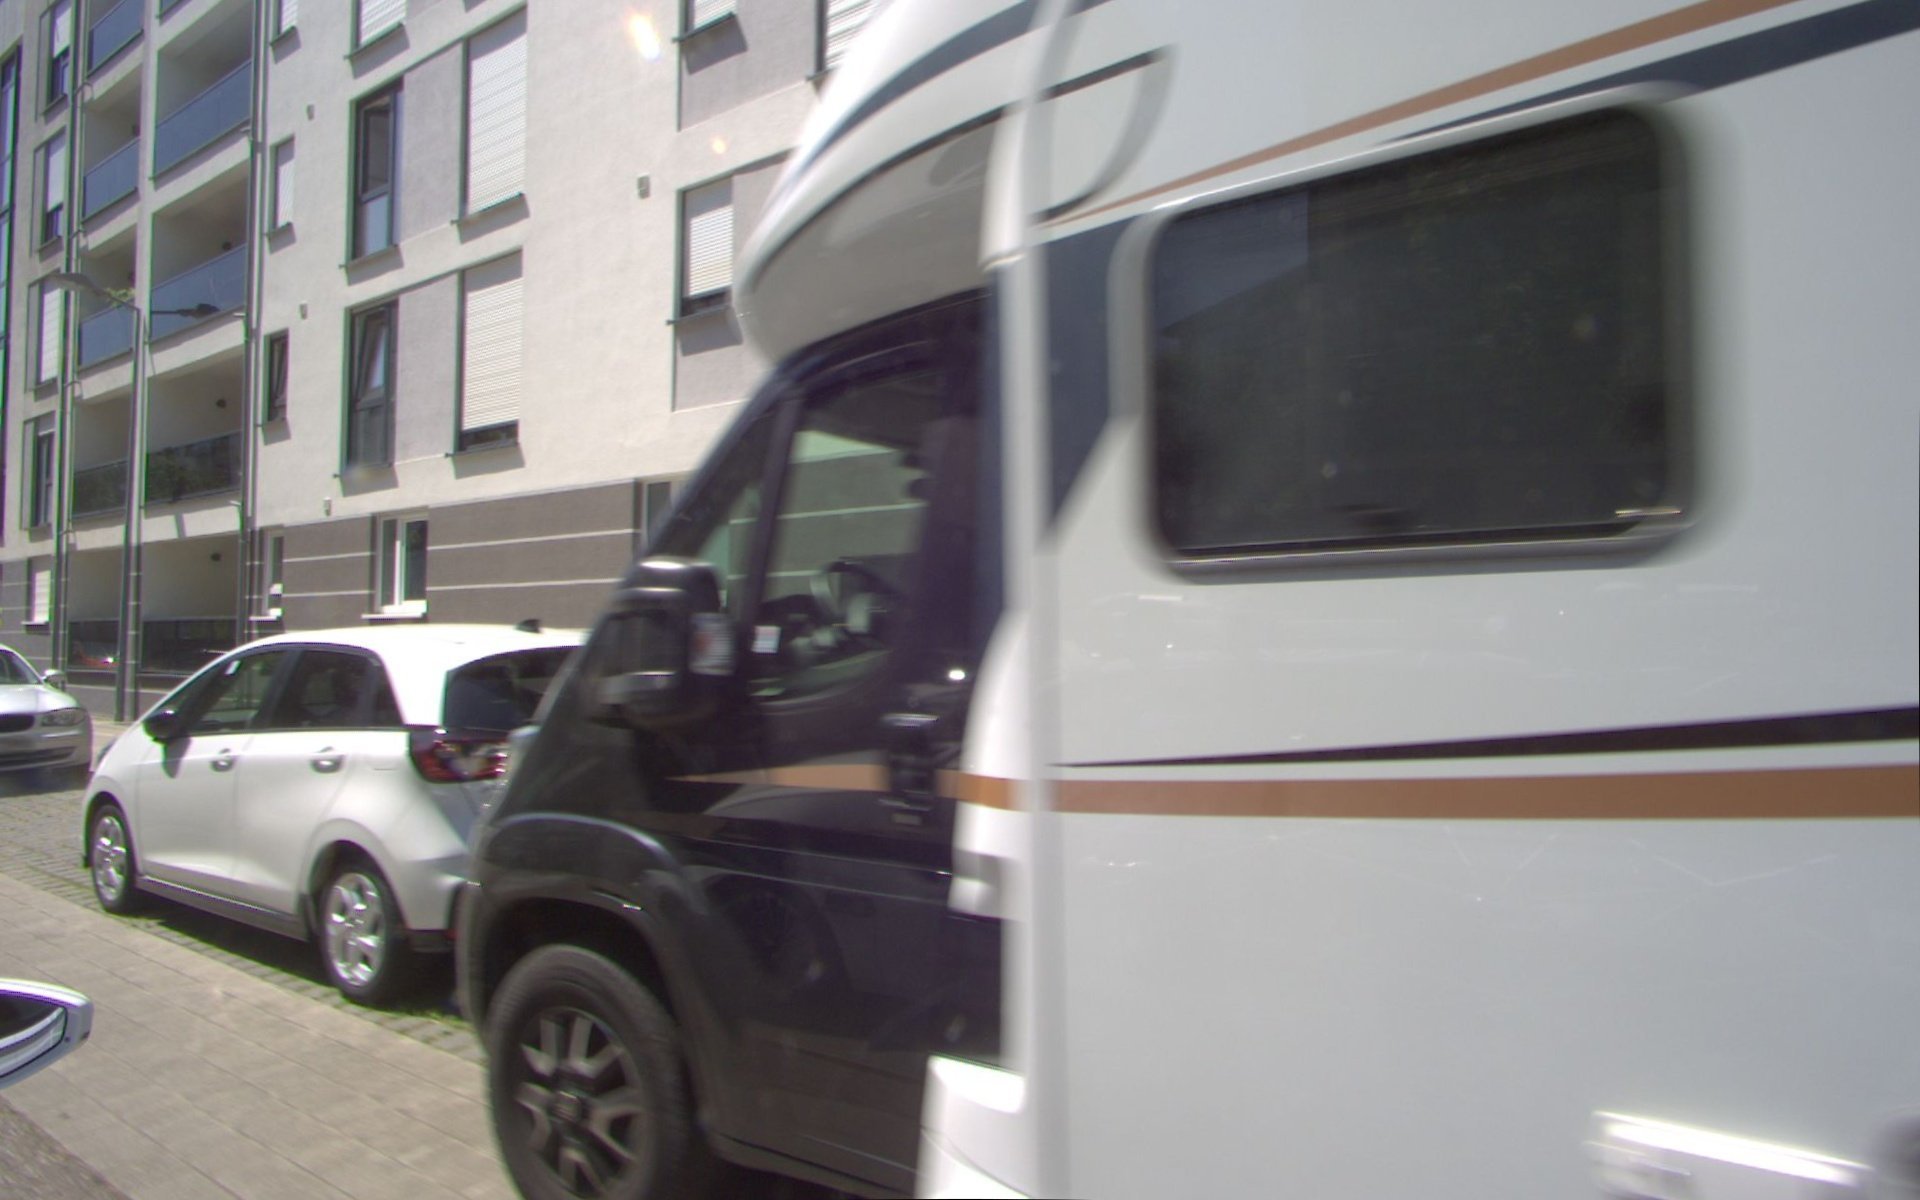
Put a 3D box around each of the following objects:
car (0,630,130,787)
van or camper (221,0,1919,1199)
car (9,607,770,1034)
[{"bbox_3d":[-10.596,1.036,10.419,4.365,1.434,1.842,-1,-3,34],"label":"car"},{"bbox_3d":[1.834,0.068,1.862,7.715,2.941,2.436,-2,-4,32],"label":"van or camper"},{"bbox_3d":[-3.224,0.839,5.453,4.198,1.524,1.804,-1,-1,31],"label":"car"}]
